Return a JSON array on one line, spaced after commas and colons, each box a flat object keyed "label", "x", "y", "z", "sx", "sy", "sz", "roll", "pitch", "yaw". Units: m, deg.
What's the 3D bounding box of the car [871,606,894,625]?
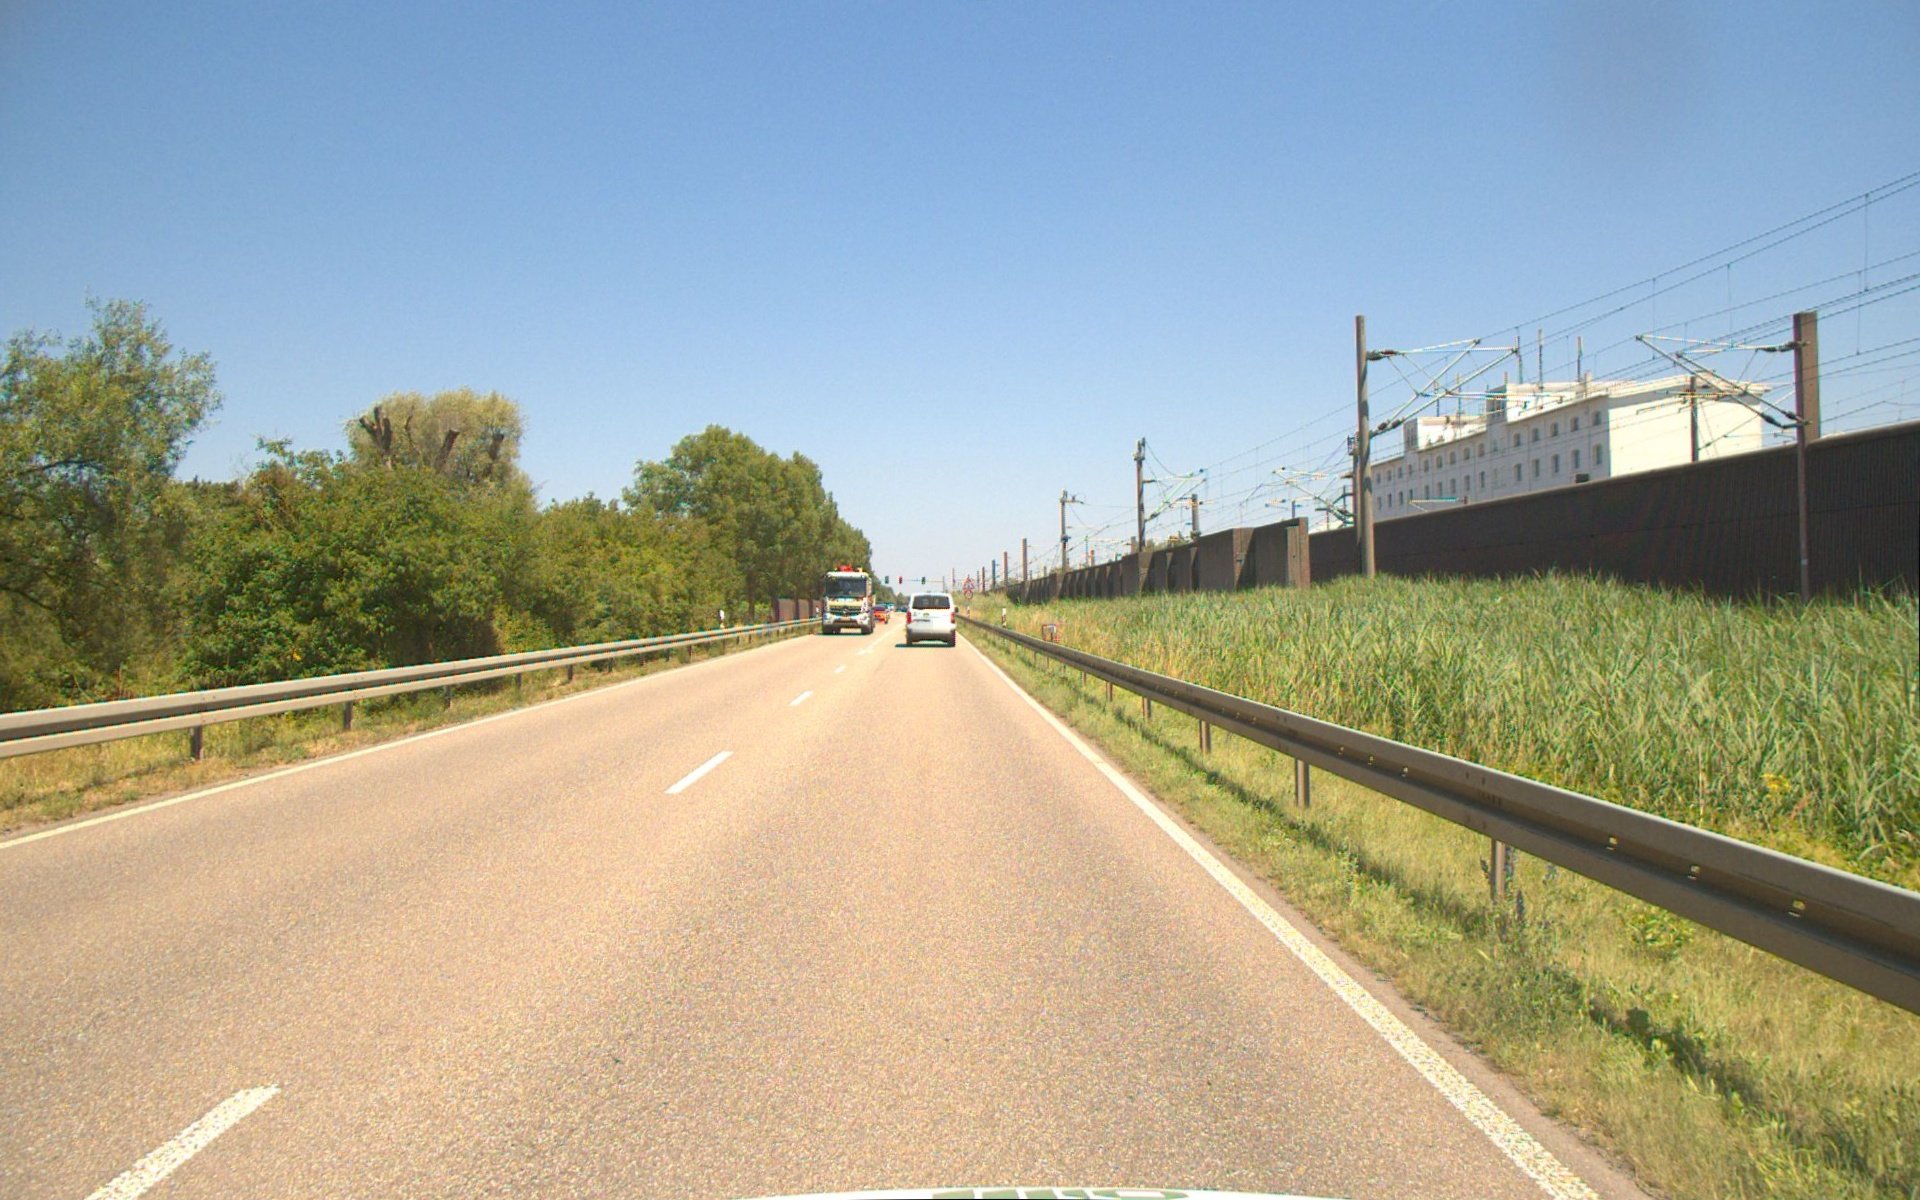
[{"label": "car", "x": -6.388, "y": 1.254, "z": 135.401, "sx": 1.754, "sy": 1.446, "sz": 3.996, "roll": 0, "pitch": 0, "yaw": -4}]

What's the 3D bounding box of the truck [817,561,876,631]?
[{"label": "truck", "x": -5.866, "y": -0.215, "z": 86.800, "sx": 2.727, "sy": 3.464, "sz": 7.986, "roll": 1, "pitch": 0, "yaw": -2}]

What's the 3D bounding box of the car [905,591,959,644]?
[{"label": "car", "x": -1.044, "y": 0.620, "z": 61.383, "sx": 1.953, "sy": 1.882, "sz": 3.999, "roll": 1, "pitch": 0, "yaw": -1}]

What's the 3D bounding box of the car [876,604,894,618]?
[{"label": "car", "x": -8.020, "y": 1.161, "z": 177.361, "sx": 1.753, "sy": 1.552, "sz": 4.389, "roll": 0, "pitch": 0, "yaw": -1}]
